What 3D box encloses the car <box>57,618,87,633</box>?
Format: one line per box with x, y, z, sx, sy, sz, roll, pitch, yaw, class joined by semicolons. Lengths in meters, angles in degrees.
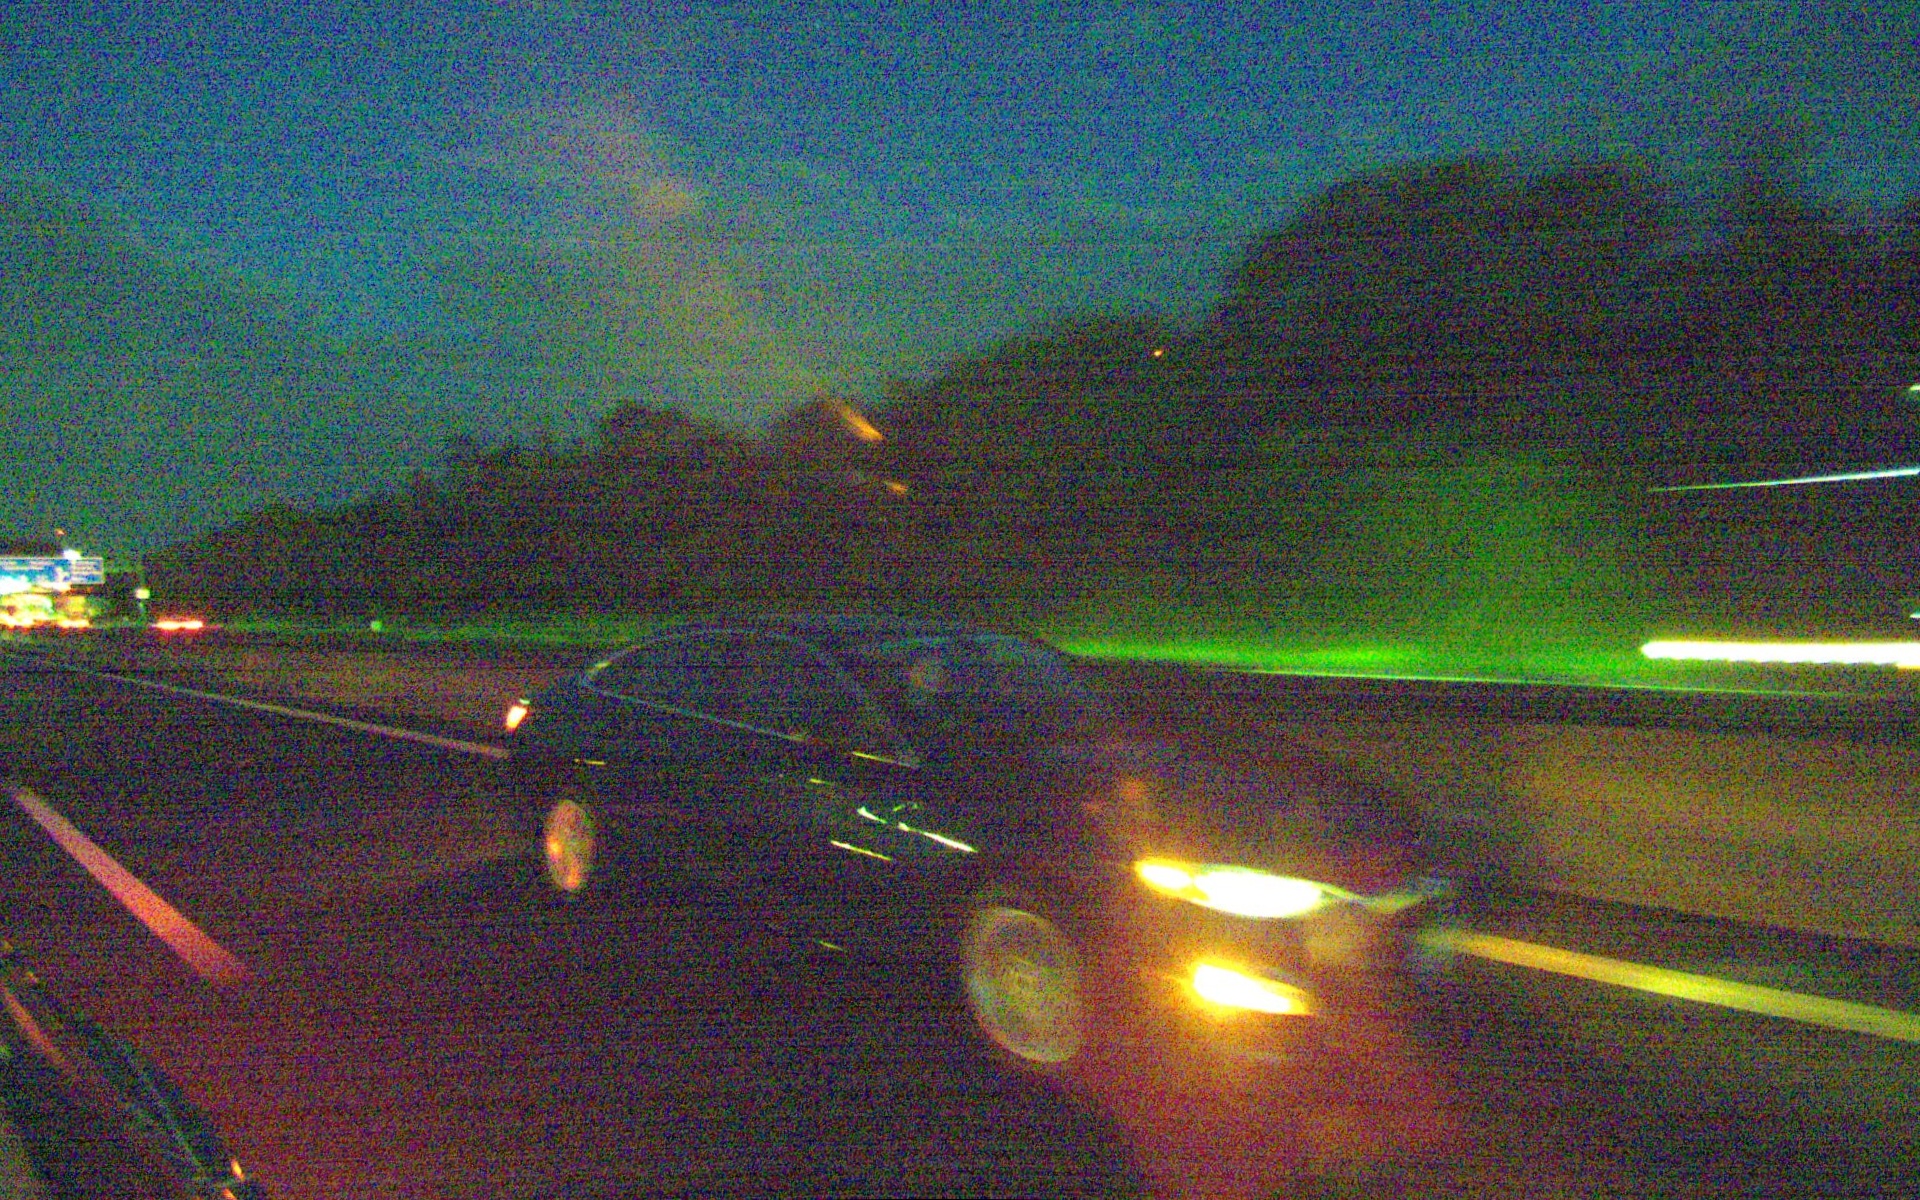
-91.659;2.575;104.447;4.208;1.478;1.988;-1;-1;43;car

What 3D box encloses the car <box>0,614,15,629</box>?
-159.730;3.577;169.222;6.215;2.537;2.078;-1;-1;43;car

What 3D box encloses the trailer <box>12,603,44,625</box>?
-178.664;2.653;193.982;13.811;4.010;3.393;-1;0;43;trailer

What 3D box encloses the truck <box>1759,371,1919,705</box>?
13.522;-0.768;12.285;5.856;4.010;2.824;-1;-1;41;truck

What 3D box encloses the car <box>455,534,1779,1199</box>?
-0.110;0.716;4.476;5.651;1.530;1.972;-2;-1;43;car

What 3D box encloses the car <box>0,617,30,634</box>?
-98.228;2.674;105.130;4.483;1.682;1.988;-1;-1;43;car

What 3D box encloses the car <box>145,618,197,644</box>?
-52.610;2.039;67.478;4.948;1.682;1.988;-1;-1;43;car
